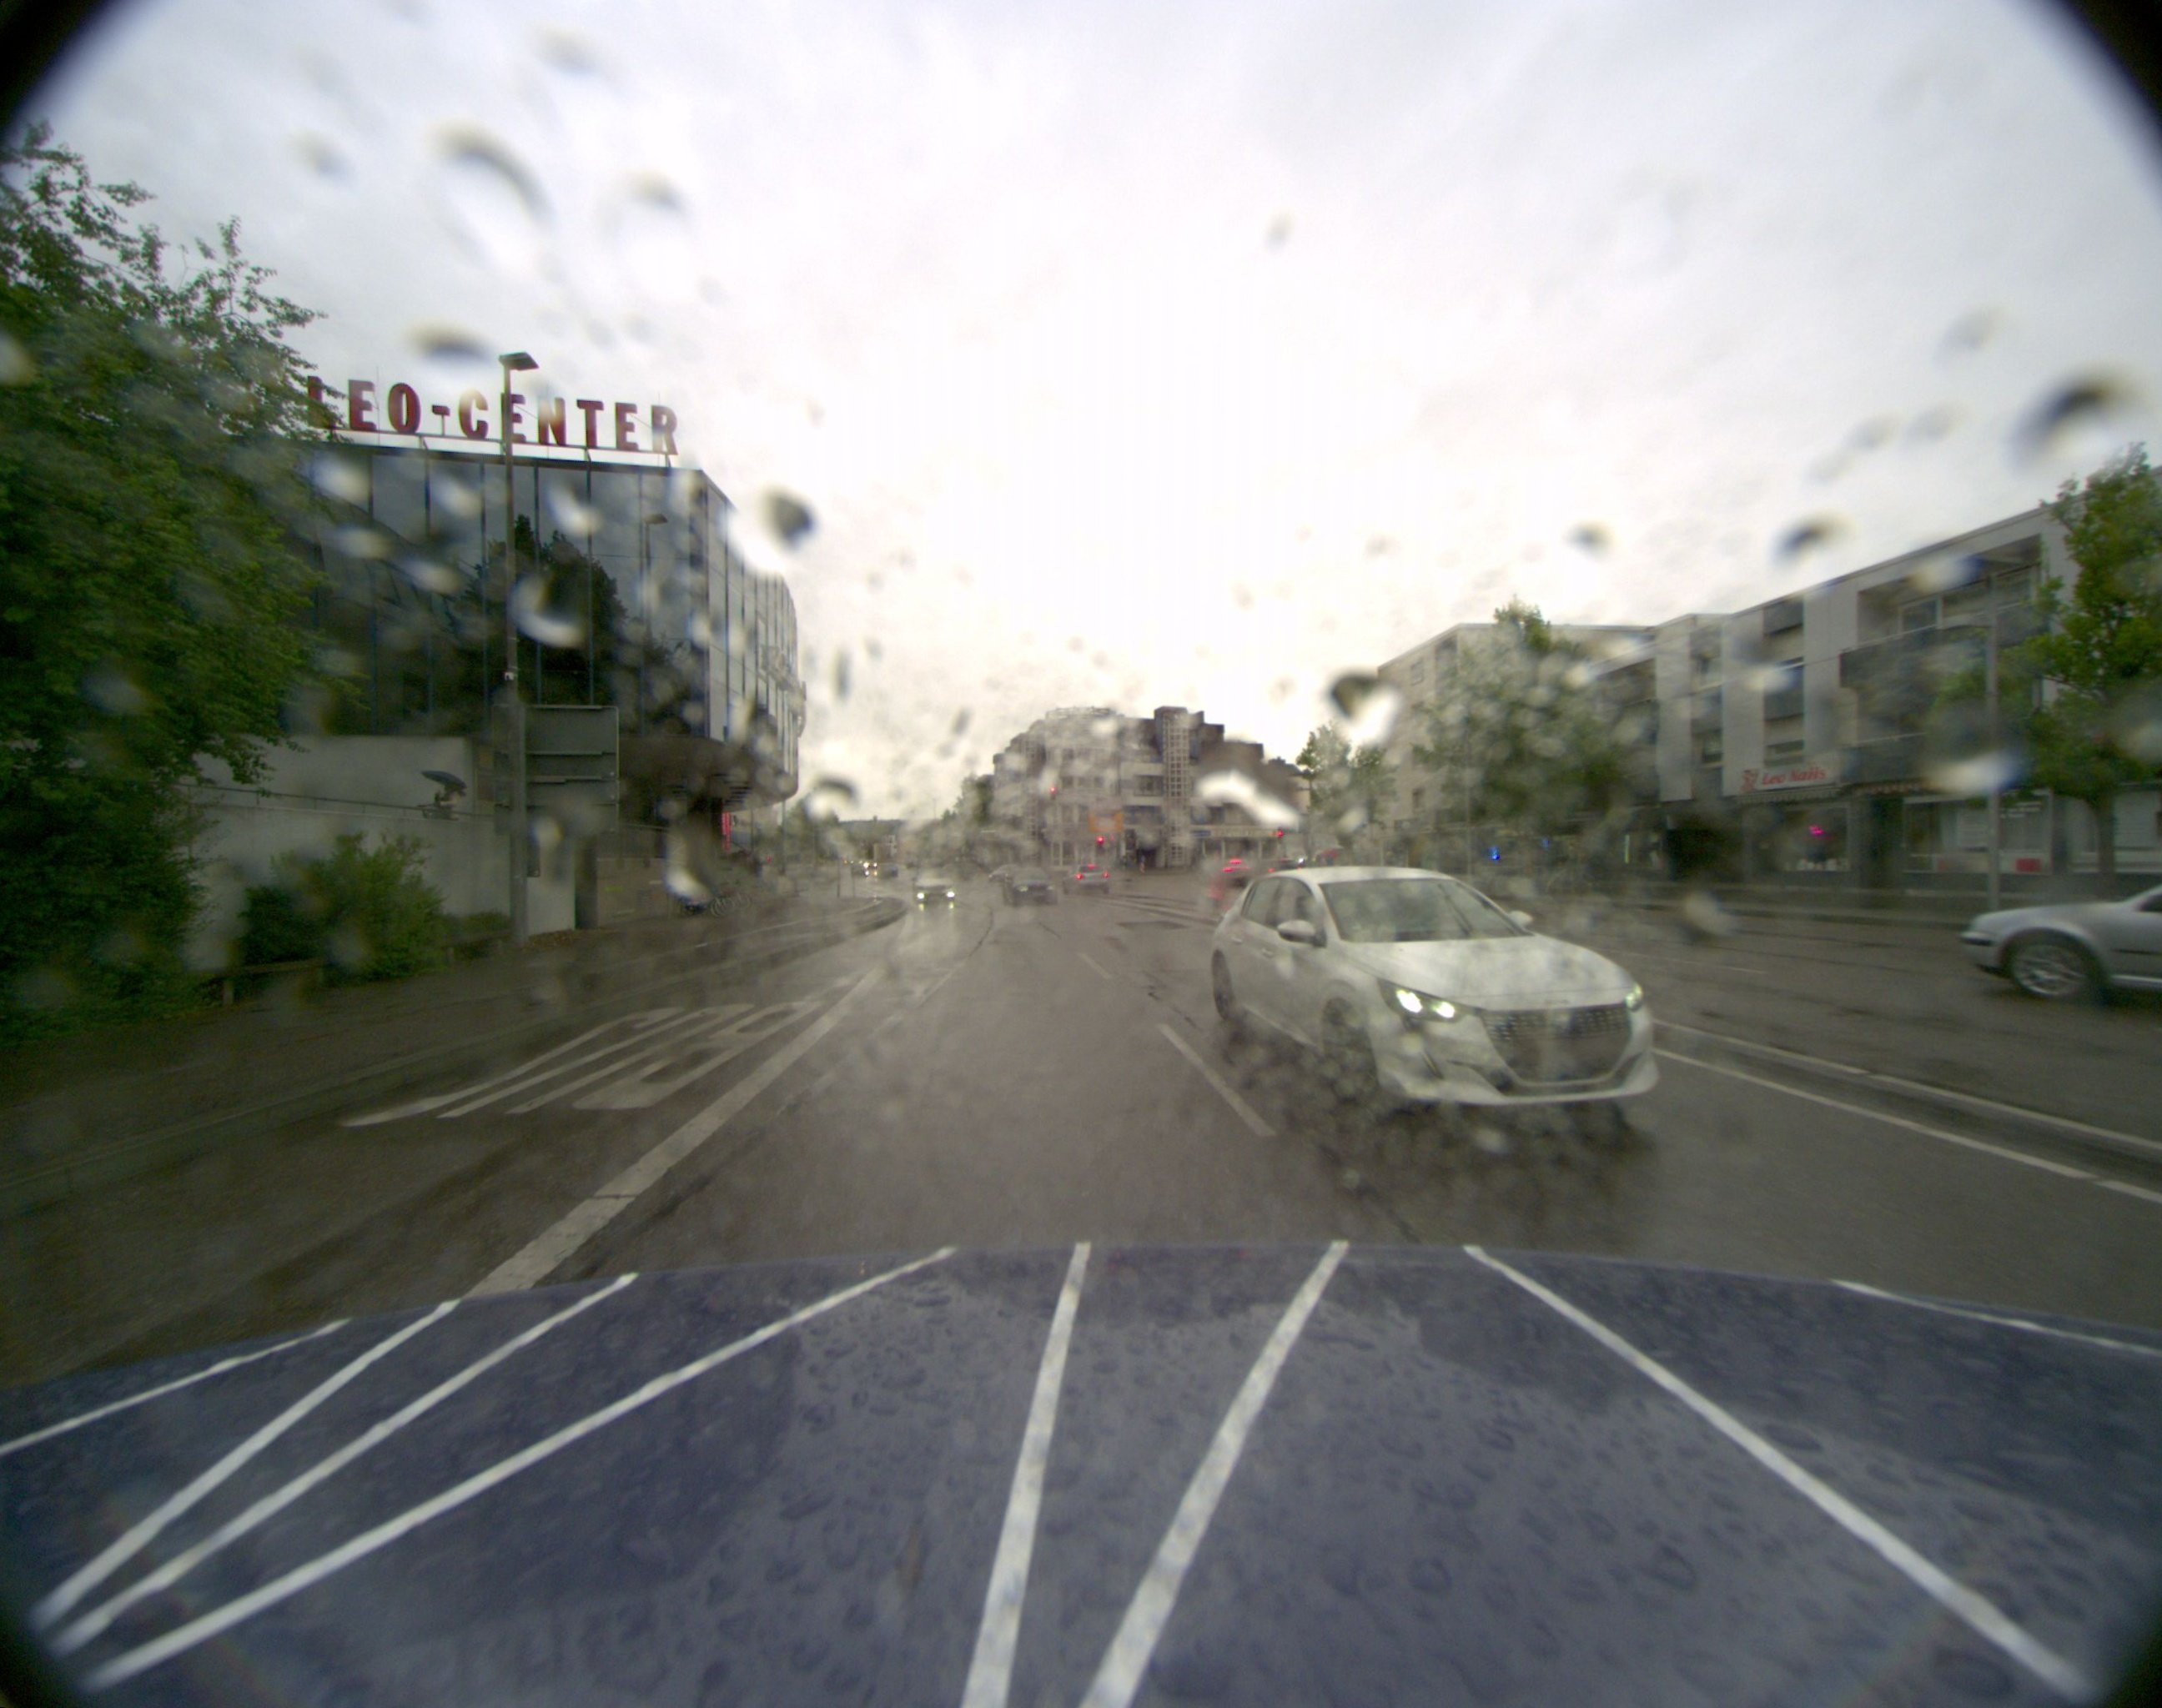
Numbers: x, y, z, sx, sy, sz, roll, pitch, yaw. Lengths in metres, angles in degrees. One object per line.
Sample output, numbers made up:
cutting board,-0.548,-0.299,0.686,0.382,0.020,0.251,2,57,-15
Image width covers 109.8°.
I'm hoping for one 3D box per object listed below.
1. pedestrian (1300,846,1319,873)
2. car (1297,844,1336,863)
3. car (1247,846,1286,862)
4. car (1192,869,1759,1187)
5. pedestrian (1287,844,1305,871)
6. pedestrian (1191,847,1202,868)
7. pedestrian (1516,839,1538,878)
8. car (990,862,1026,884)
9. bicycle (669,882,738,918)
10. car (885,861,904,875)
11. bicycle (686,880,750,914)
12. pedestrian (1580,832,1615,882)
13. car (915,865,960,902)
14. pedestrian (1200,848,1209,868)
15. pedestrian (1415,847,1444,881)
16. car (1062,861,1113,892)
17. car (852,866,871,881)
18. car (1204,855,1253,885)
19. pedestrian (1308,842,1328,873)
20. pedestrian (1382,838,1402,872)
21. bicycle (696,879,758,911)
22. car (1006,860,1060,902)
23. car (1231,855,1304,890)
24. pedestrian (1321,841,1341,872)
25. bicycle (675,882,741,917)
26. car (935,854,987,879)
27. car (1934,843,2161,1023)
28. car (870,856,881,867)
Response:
pedestrian,16.426,0.425,54.608,0.906,1.903,0.977,-1,0,-6
car,26.295,-0.061,84.773,4.607,2.002,1.994,-1,0,-42
car,20.668,0.036,84.753,3.900,1.710,1.744,-1,0,-23
car,2.336,0.891,5.771,1.878,1.453,3.870,-2,0,-9
pedestrian,15.432,0.249,54.470,0.906,1.903,0.977,-1,0,-6
pedestrian,10.147,0.310,66.918,0.838,1.733,0.585,-2,1,0
pedestrian,20.541,0.213,34.988,0.549,1.740,0.680,-1,0,-3
car,-5.324,1.356,55.767,1.631,1.481,3.843,-2,-1,11
bicycle,-11.872,1.450,23.961,1.815,1.104,0.694,1,0,-7
car,-20.650,1.541,84.206,1.903,1.517,3.995,-1,0,-15
bicycle,-12.143,1.426,25.461,1.815,1.104,0.694,1,0,-7
pedestrian,20.862,0.128,30.708,0.760,2.002,0.864,-1,0,-2
car,-6.938,1.343,36.427,1.764,1.540,4.321,-4,0,-14
pedestrian,11.064,0.343,68.136,0.682,1.733,0.586,-2,1,20
pedestrian,16.984,0.478,37.076,1.010,1.636,0.726,-2,0,-6
car,0.286,1.136,38.774,1.763,1.442,3.996,-1,-1,-12
car,-24.255,2.109,84.075,1.903,1.517,3.995,-1,0,-15
car,7.835,0.805,40.741,1.762,1.418,4.888,-2,0,1
pedestrian,15.489,0.245,49.691,0.906,2.002,0.977,-1,0,-6
pedestrian,18.912,0.059,46.264,0.761,2.002,0.864,-1,0,-7
bicycle,-12.476,1.445,26.801,1.836,1.104,0.693,0,1,-7
car,-2.012,1.075,30.692,1.677,1.533,3.910,-1,-1,-11
car,8.166,0.819,33.627,1.763,1.418,3.998,-2,-1,-8
pedestrian,16.444,0.184,50.058,0.906,2.002,0.977,-1,0,-6
bicycle,-12.085,1.480,24.670,1.807,1.079,0.684,1,0,-7
car,-10.443,1.098,66.234,4.195,2.002,1.794,-1,0,-19
car,9.691,0.635,5.739,1.705,1.457,4.101,0,0,-6
car,-31.838,1.169,117.572,1.585,1.630,3.636,-1,0,-15
